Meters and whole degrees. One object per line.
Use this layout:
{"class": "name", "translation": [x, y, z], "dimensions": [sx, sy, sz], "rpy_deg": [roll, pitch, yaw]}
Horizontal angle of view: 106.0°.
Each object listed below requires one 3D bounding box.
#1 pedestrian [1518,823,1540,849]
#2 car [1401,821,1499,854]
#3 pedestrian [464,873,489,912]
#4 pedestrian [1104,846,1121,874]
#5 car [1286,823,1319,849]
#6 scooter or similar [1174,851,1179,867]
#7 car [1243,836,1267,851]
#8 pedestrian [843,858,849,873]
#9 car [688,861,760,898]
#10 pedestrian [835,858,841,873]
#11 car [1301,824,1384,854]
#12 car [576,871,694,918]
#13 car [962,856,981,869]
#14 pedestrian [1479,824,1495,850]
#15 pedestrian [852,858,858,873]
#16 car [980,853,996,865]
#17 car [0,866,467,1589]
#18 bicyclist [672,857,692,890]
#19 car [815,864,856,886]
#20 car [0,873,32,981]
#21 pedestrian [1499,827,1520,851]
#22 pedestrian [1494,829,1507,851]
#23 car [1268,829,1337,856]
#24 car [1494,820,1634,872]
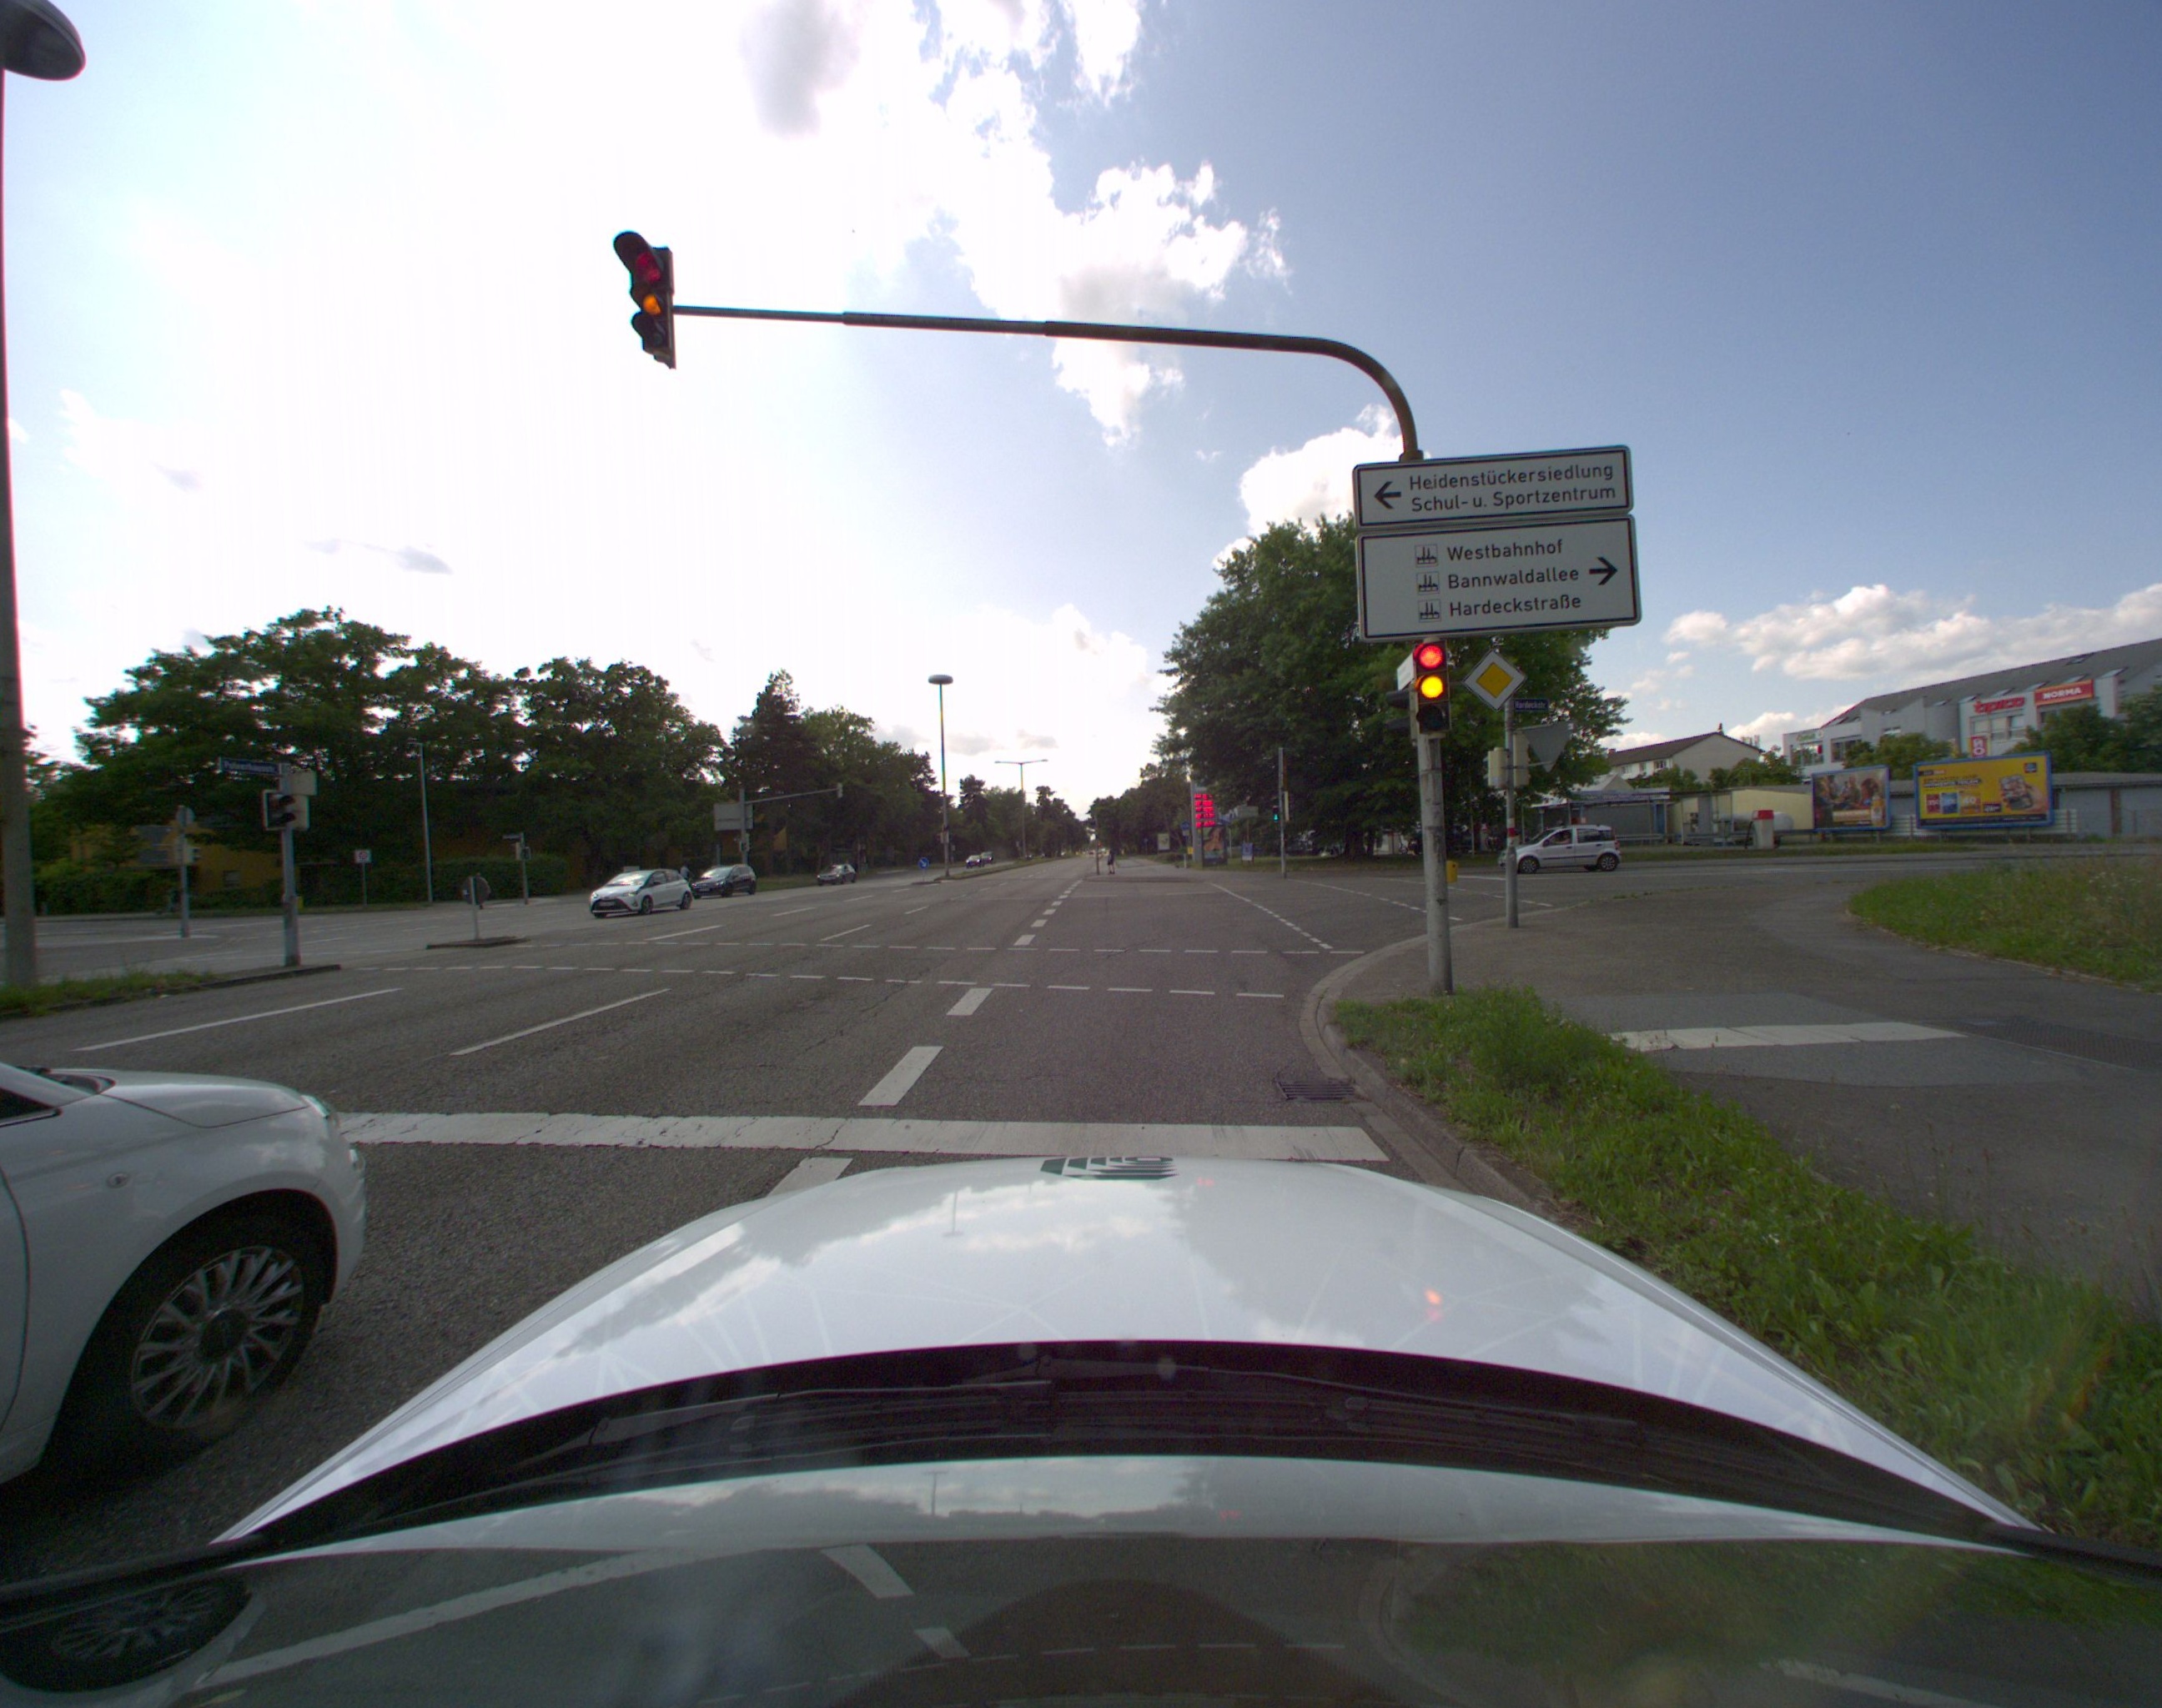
{"class": "pedestrian", "translation": [22.509, -0.908, 40.918], "dimensions": [0.649, 1.255, 0.757], "rpy_deg": [0, -1, -42]}
{"class": "car", "translation": [20.617, -0.888, 45.651], "dimensions": [4.548, 1.596, 2.147], "rpy_deg": [-3, 0, -9]}
{"class": "pedestrian", "translation": [-27.937, 1.768, 37.627], "dimensions": [0.696, 1.742, 0.697], "rpy_deg": [-3, 0, 39]}
{"class": "pedestrian", "translation": [1.829, 0.343, 47.175], "dimensions": [0.726, 1.531, 0.756], "rpy_deg": [-3, 0, -15]}
{"class": "car", "translation": [22.926, -1.833, 84.398], "dimensions": [1.744, 2.453, 5.750], "rpy_deg": [-3, 0, 0]}
{"class": "scooter or similar", "translation": [6.088, 0.331, 51.924], "dimensions": [0.220, 0.979, 1.273], "rpy_deg": [-3, 0, 2]}
{"class": "car", "translation": [18.728, -1.094, 87.607], "dimensions": [1.744, 1.454, 3.741], "rpy_deg": [-3, 0, 0]}
{"class": "pedestrian", "translation": [-24.728, 1.201, 85.544], "dimensions": [0.570, 1.496, 0.419], "rpy_deg": [0, -1, -14]}
{"class": "car", "translation": [-18.218, 1.277, 41.775], "dimensions": [1.664, 1.742, 4.312], "rpy_deg": [-2, -1, 2]}
{"class": "pedestrian", "translation": [-25.462, 1.206, 85.394], "dimensions": [0.570, 1.496, 0.419], "rpy_deg": [0, -1, -14]}
{"class": "car", "translation": [18.546, -1.067, 57.954], "dimensions": [5.179, 1.826, 2.147], "rpy_deg": [-3, 0, -9]}
{"class": "car", "translation": [-14.813, 1.315, 27.264], "dimensions": [1.746, 1.308, 3.695], "rpy_deg": [-4, -1, 2]}
{"class": "car", "translation": [-13.328, 0.966, 99.117], "dimensions": [1.766, 1.465, 4.454], "rpy_deg": [-3, 0, -1]}
{"class": "pedestrian", "translation": [23.233, -0.972, 46.583], "dimensions": [0.559, 1.495, 0.619], "rpy_deg": [0, -1, -6]}
{"class": "pedestrian", "translation": [-23.584, 1.188, 84.905], "dimensions": [0.570, 1.496, 0.419], "rpy_deg": [0, -1, -14]}
{"class": "car", "translation": [-14.564, 0.767, 127.425], "dimensions": [1.759, 1.857, 4.819], "rpy_deg": [-3, 1, 2]}
{"class": "car", "translation": [-3.057, 0.786, 1.179], "dimensions": [1.564, 1.497, 3.541], "rpy_deg": [0, -1, 2]}
{"class": "bicyclist", "translation": [-24.924, 1.192, 50.940], "dimensions": [0.749, 2.013, 0.831], "rpy_deg": [-3, 0, -1]}
{"class": "car", "translation": [-17.244, 1.476, 57.383], "dimensions": [1.589, 1.372, 4.081], "rpy_deg": [-3, 0, 0]}
{"class": "car", "translation": [-18.964, 1.236, 11.897], "dimensions": [1.664, 1.794, 4.256], "rpy_deg": [-2, -1, 2]}
{"class": "pedestrian", "translation": [21.837, -0.748, 41.470], "dimensions": [0.649, 1.190, 0.757], "rpy_deg": [0, -1, -42]}
{"class": "pedestrian", "translation": [30.896, -1.013, 60.022], "dimensions": [0.650, 1.544, 0.625], "rpy_deg": [-3, 0, 8]}
{"class": "car", "translation": [18.732, -0.976, 68.890], "dimensions": [5.167, 2.004, 2.152], "rpy_deg": [-3, 0, -2]}
{"class": "car", "translation": [15.588, -0.246, 26.467], "dimensions": [3.571, 1.517, 1.565], "rpy_deg": [-2, 0, 14]}
